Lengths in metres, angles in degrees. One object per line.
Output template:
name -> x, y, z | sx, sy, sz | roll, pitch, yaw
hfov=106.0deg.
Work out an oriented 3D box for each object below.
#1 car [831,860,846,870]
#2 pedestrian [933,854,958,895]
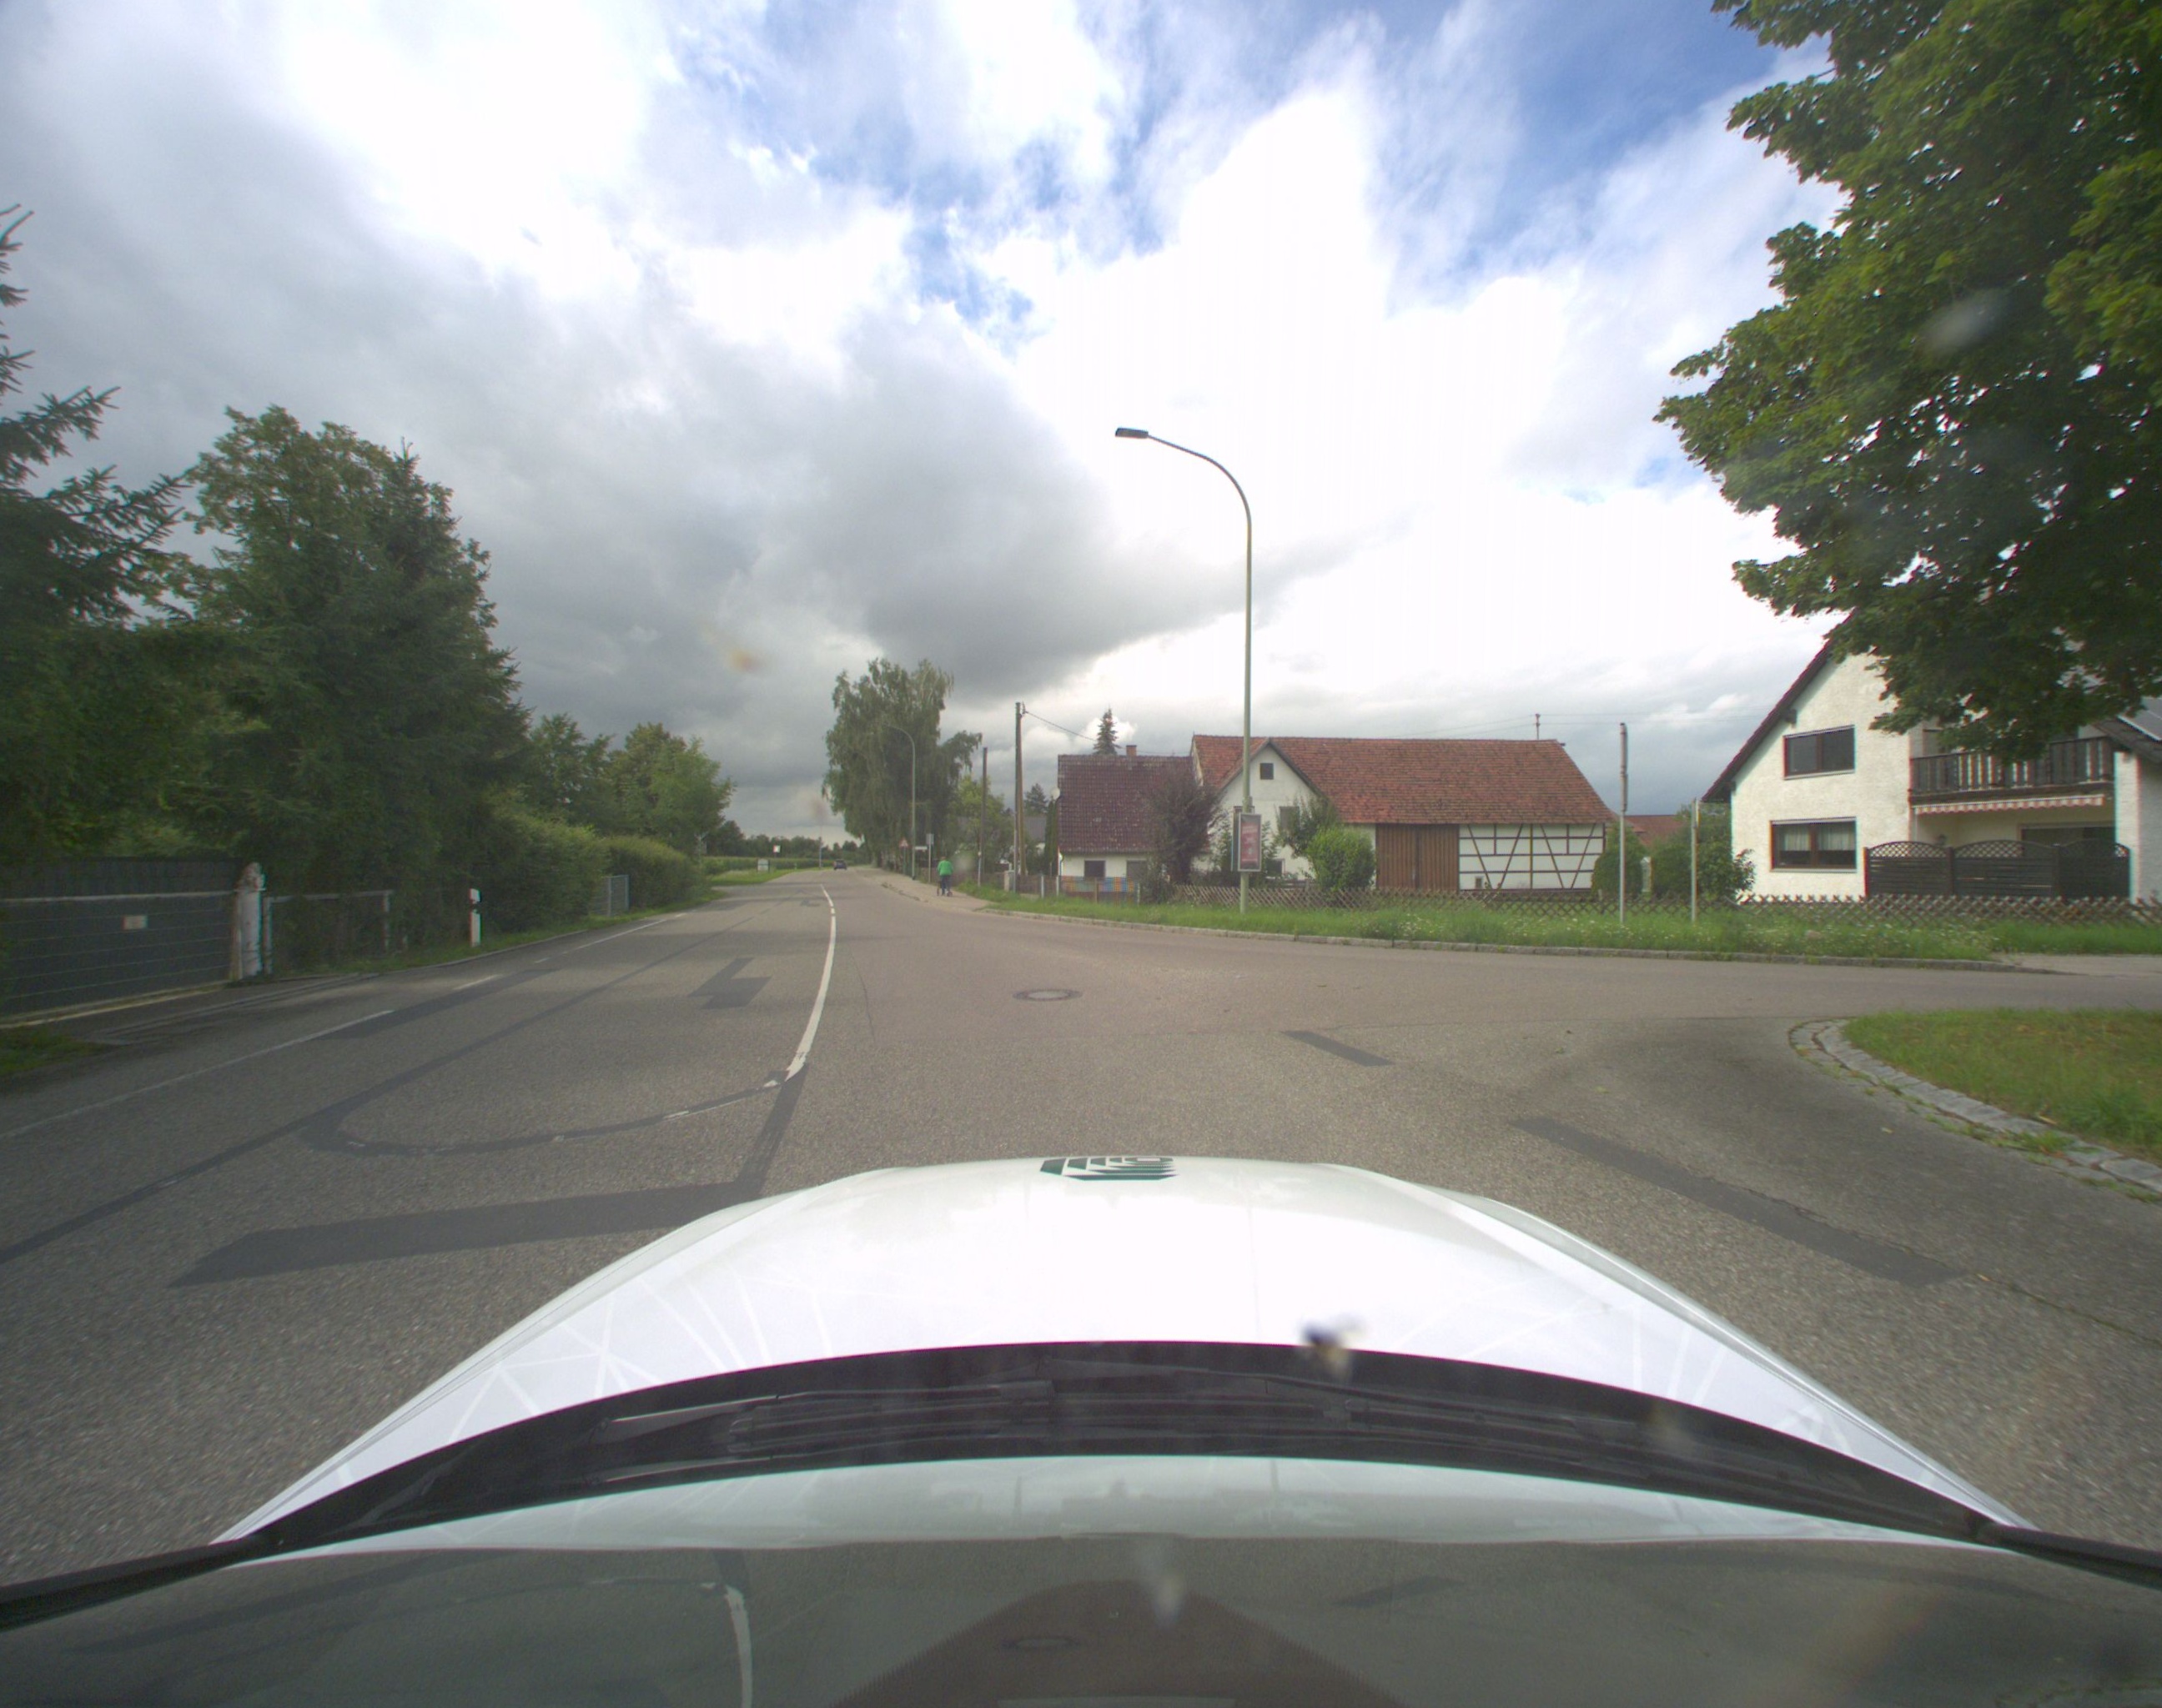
car -> -36.463, 1.646, 122.423 | 1.998, 1.552, 3.977 | 0, 0, -17
pedestrian -> -5.758, 0.858, 34.558 | 0.791, 1.665, 0.707 | 5, -2, -21
